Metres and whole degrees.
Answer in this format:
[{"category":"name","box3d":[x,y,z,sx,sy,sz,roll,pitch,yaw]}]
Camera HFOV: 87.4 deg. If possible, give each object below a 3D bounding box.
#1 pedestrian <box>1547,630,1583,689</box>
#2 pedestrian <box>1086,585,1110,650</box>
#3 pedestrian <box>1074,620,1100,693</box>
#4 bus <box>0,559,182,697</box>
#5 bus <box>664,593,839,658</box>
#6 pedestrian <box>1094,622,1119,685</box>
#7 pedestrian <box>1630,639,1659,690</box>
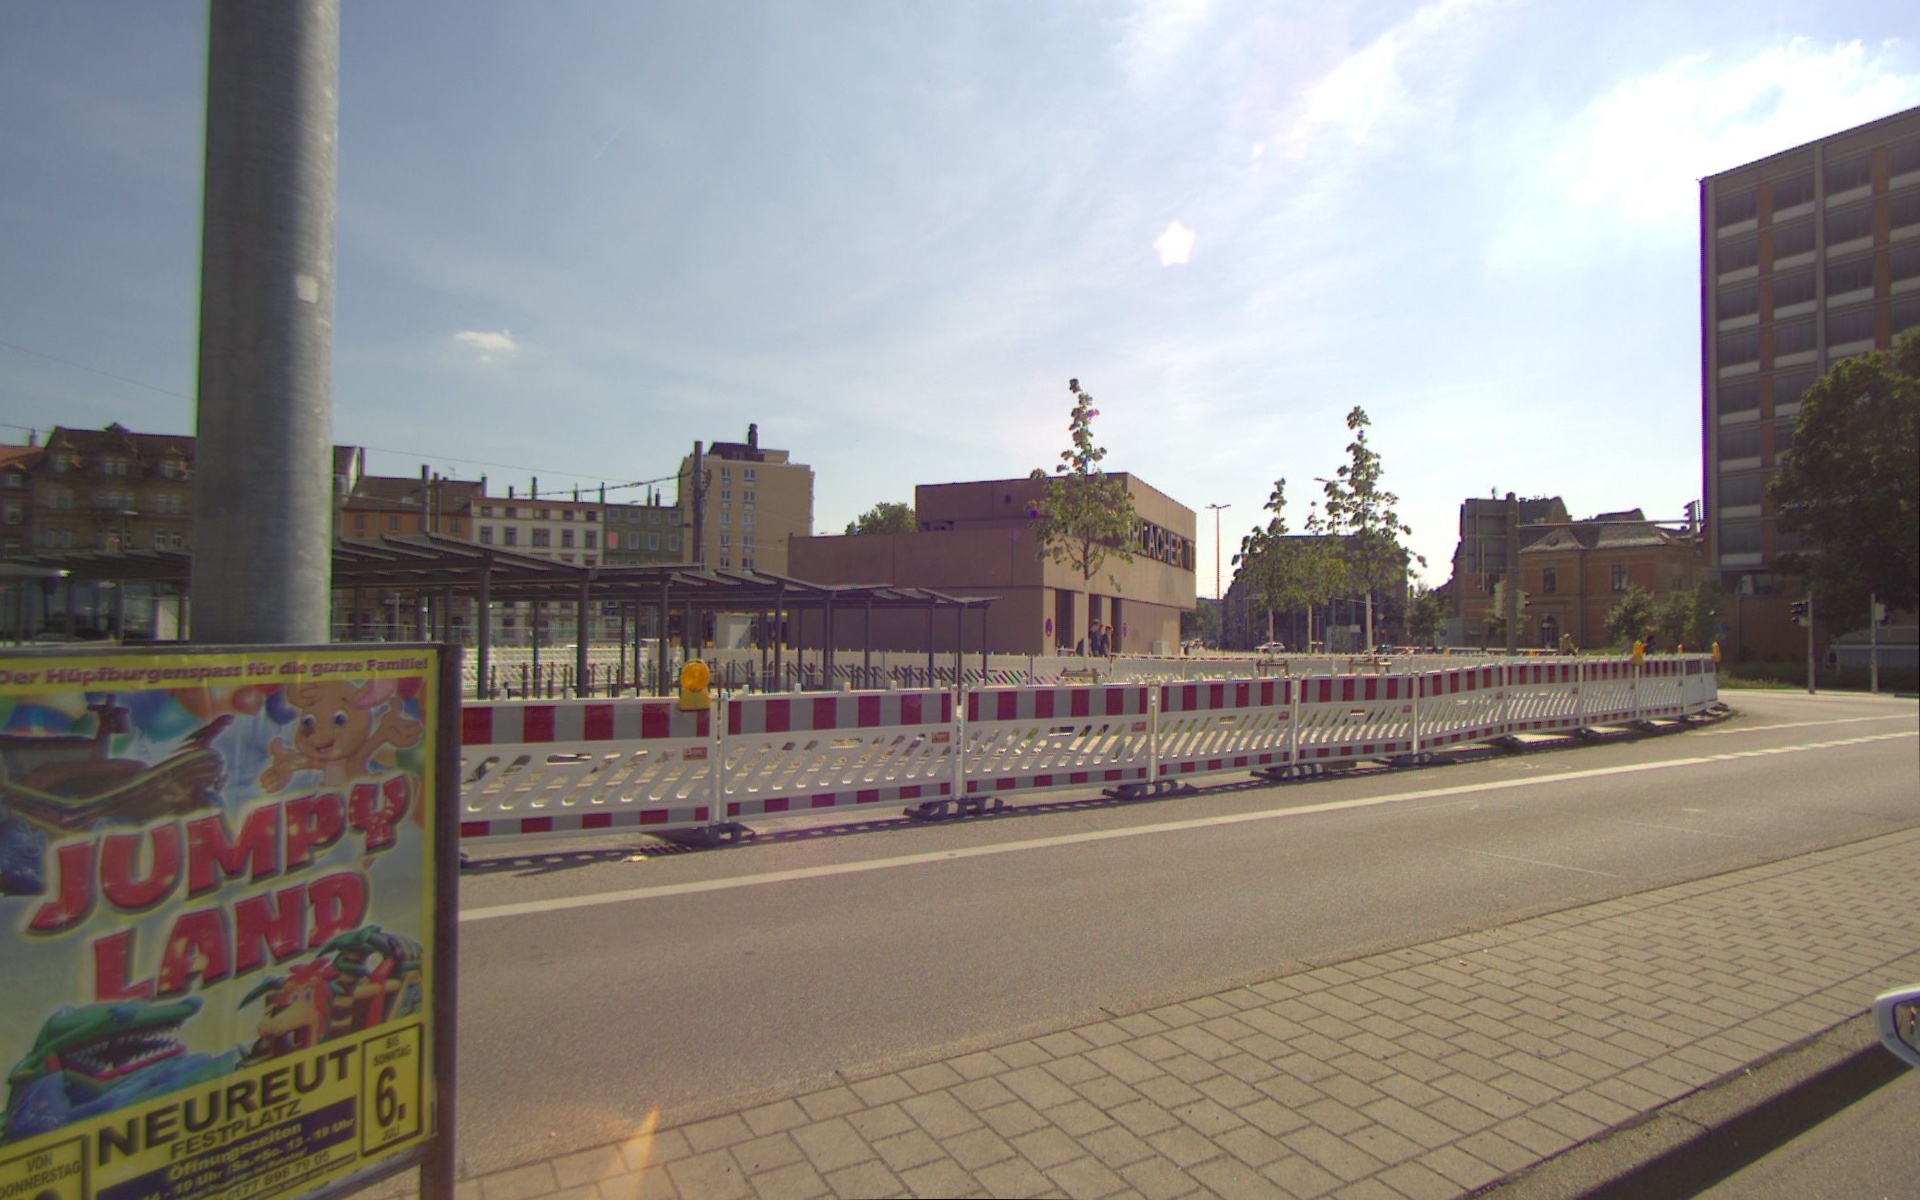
[{"category":"pedestrian","box3d":[18.870,1.861,31.344,0.728,1.775,1.104,-2,-5,44]},{"category":"pedestrian","box3d":[3.877,0.496,28.237,0.559,1.801,0.544,0,-2,-9]},{"category":"pedestrian","box3d":[3.401,1.515,27.004,0.595,1.940,0.441,0,-2,-9]},{"category":"bus","box3d":[-26.710,0.657,24.223,2.808,3.535,12.650,-1,-2,25]},{"category":"bus","box3d":[-11.472,1.550,57.351,2.808,3.324,12.650,-1,-2,25]},{"category":"pedestrian","box3d":[4.021,1.468,27.579,0.559,1.731,0.539,0,-2,-9]},{"category":"pedestrian","box3d":[20.989,1.969,30.815,0.624,1.511,0.613,-2,-3,44]}]
